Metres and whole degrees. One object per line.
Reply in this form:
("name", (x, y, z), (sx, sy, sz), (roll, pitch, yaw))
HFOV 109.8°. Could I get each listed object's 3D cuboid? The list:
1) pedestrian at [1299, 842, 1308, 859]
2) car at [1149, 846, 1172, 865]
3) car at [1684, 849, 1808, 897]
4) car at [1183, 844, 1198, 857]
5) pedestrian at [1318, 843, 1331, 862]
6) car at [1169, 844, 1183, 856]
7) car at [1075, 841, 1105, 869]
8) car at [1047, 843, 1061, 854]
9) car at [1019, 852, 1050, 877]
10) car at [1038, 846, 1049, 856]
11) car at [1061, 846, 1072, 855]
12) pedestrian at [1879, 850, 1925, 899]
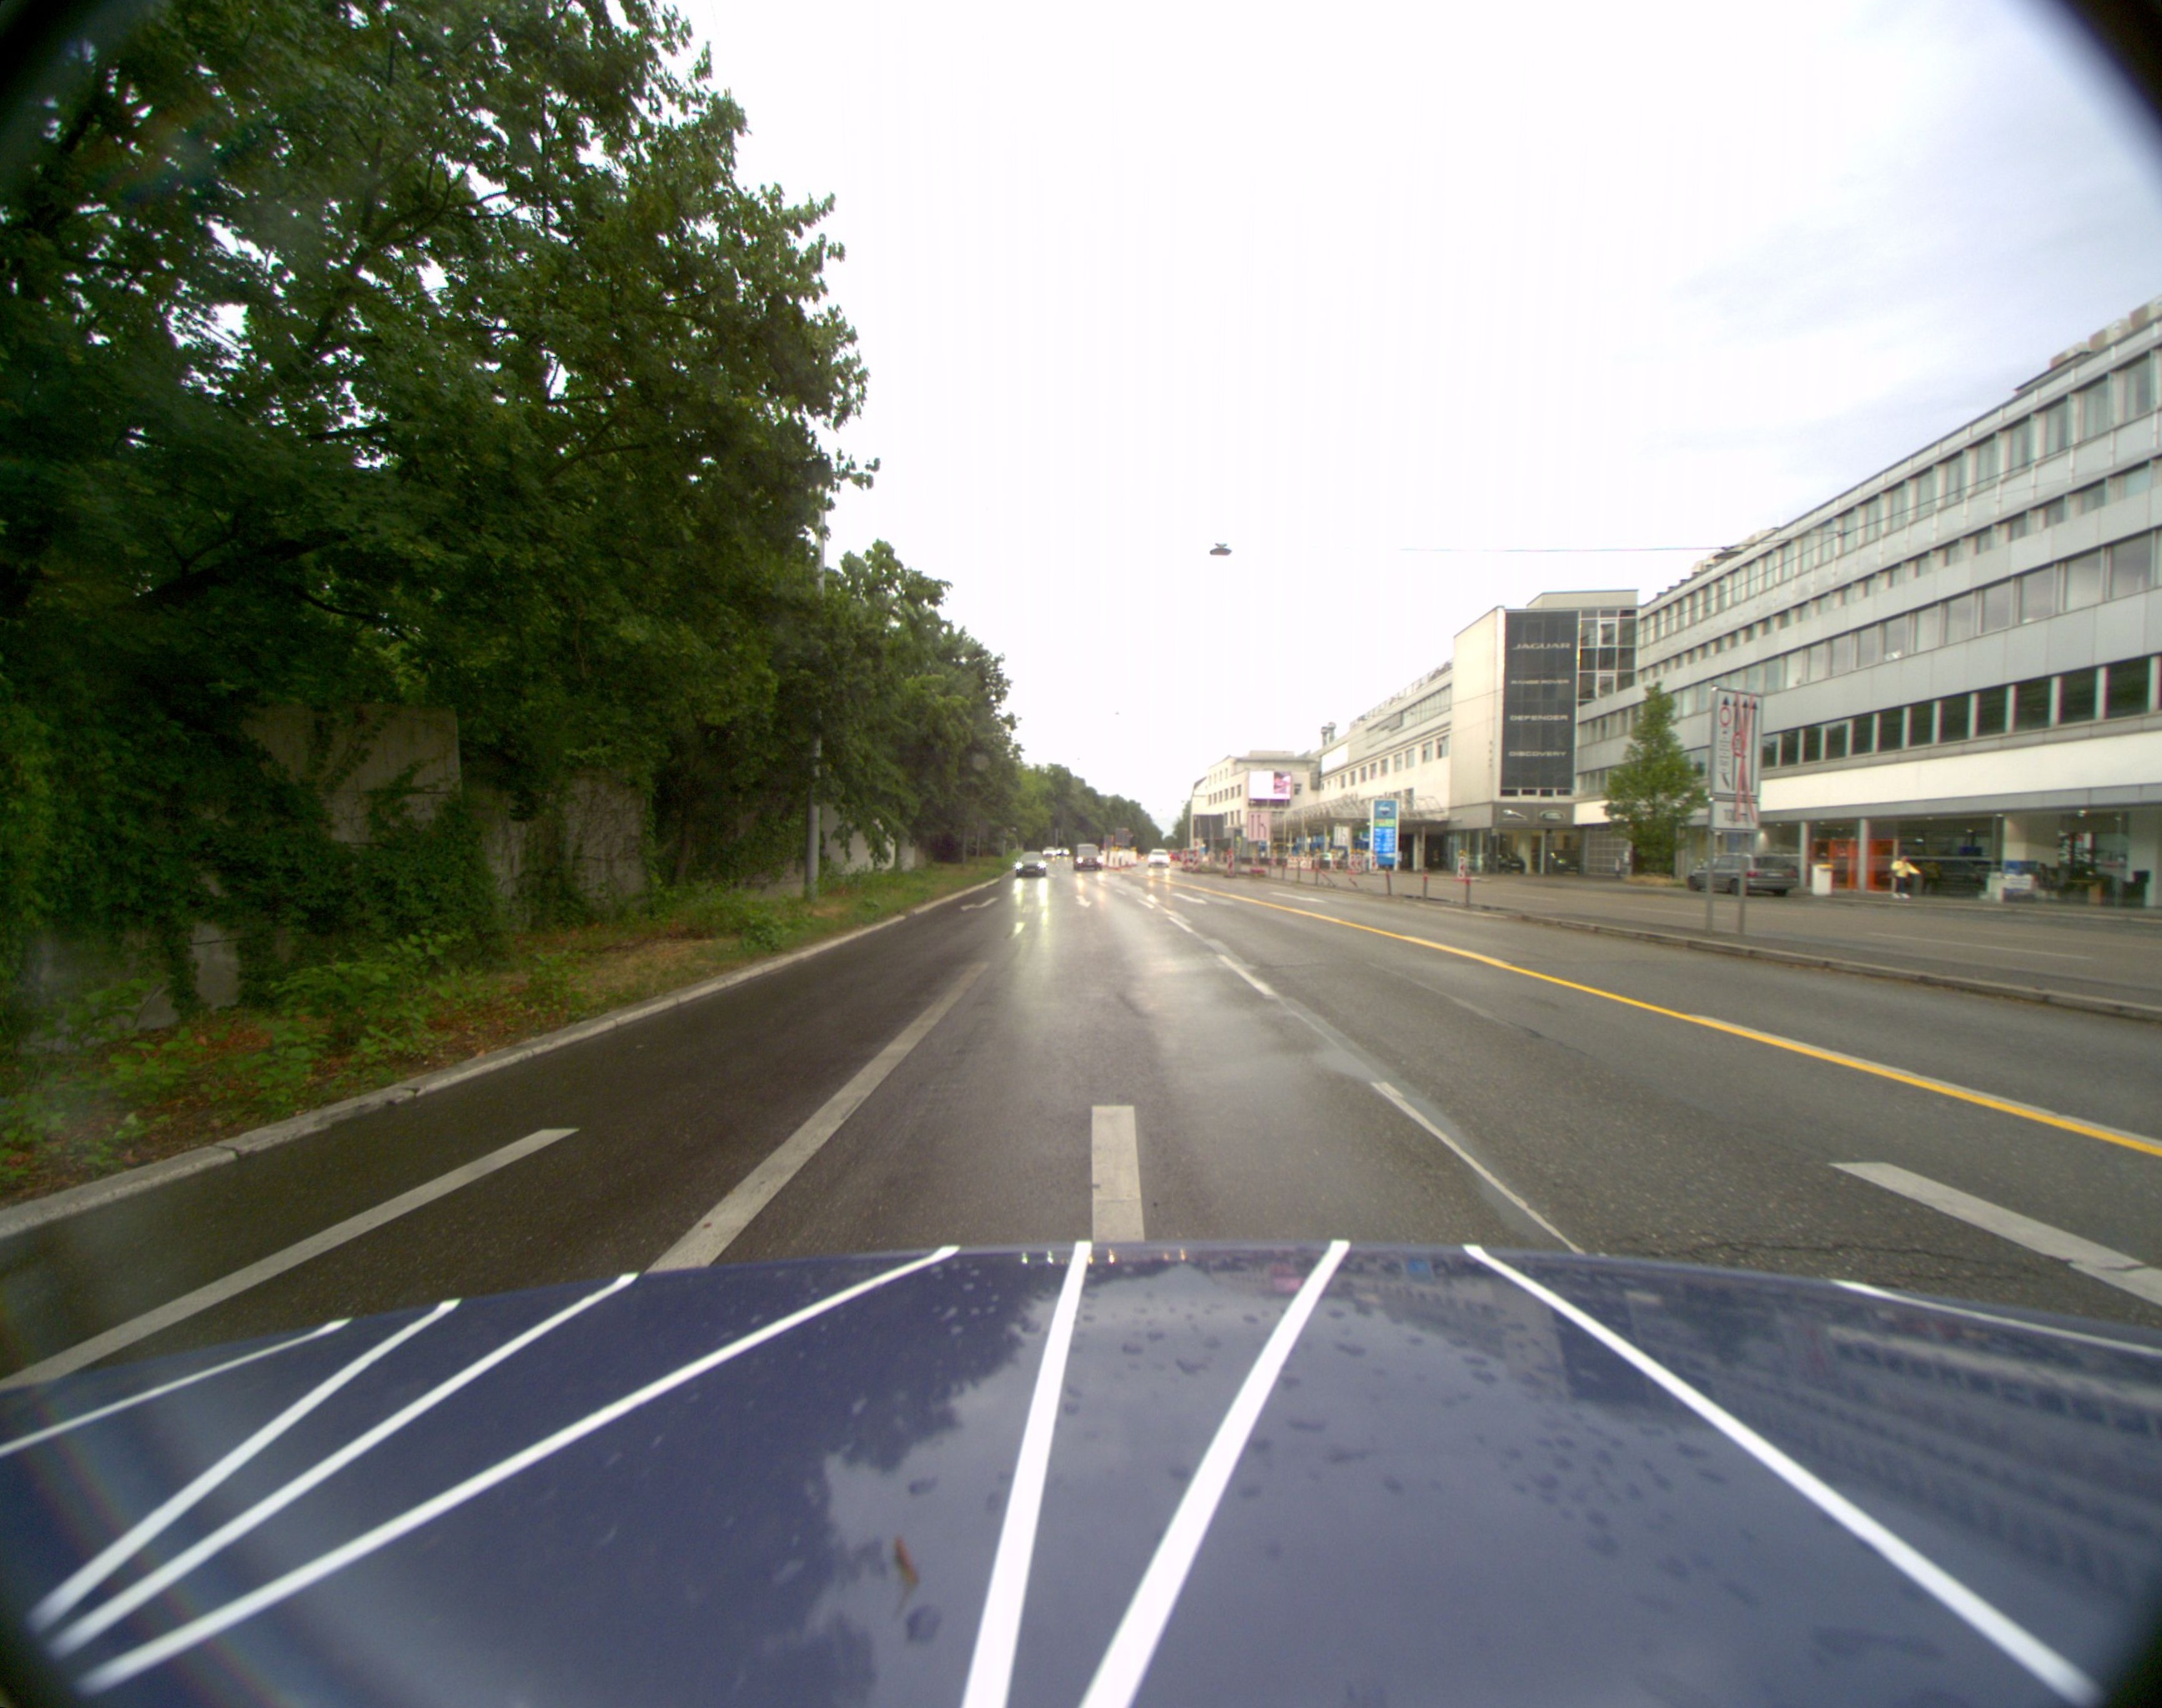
("pedestrian", (23.980, -0.345, 81.879), (0.894, 1.804, 0.942), (-2, 1, 14))
("car", (6.614, 0.102, 63.649), (1.770, 1.407, 4.334), (-2, 1, 5))
("car", (28.359, 0.748, 32.600), (1.922, 1.805, 4.166), (-2, 1, 6))
("car", (14.653, -0.456, 101.540), (1.608, 1.635, 3.379), (-2, 1, 2))
("pedestrian", (23.541, -0.133, 73.426), (0.895, 1.804, 0.941), (-2, 1, 5))
("car", (14.463, -0.668, 115.893), (1.798, 1.753, 3.727), (-2, 1, 2))
("car", (0.676, 0.041, 53.475), (1.905, 1.804, 4.430), (-2, 1, 2))
("car", (-3.955, -0.809, 112.552), (1.814, 1.444, 4.333), (-2, 1, 2))
("car", (-2.865, 0.634, 46.760), (1.753, 1.395, 4.413), (-3, 0, -4))
("car", (-6.702, -0.583, 135.810), (1.814, 1.590, 4.332), (-2, 1, 0))
("car", (-2.626, -0.641, 136.831), (1.814, 1.590, 4.332), (-2, 1, -1))
("pedestrian", (30.338, 0.738, 28.080), (0.761, 1.765, 0.864), (-2, 1, 8))
